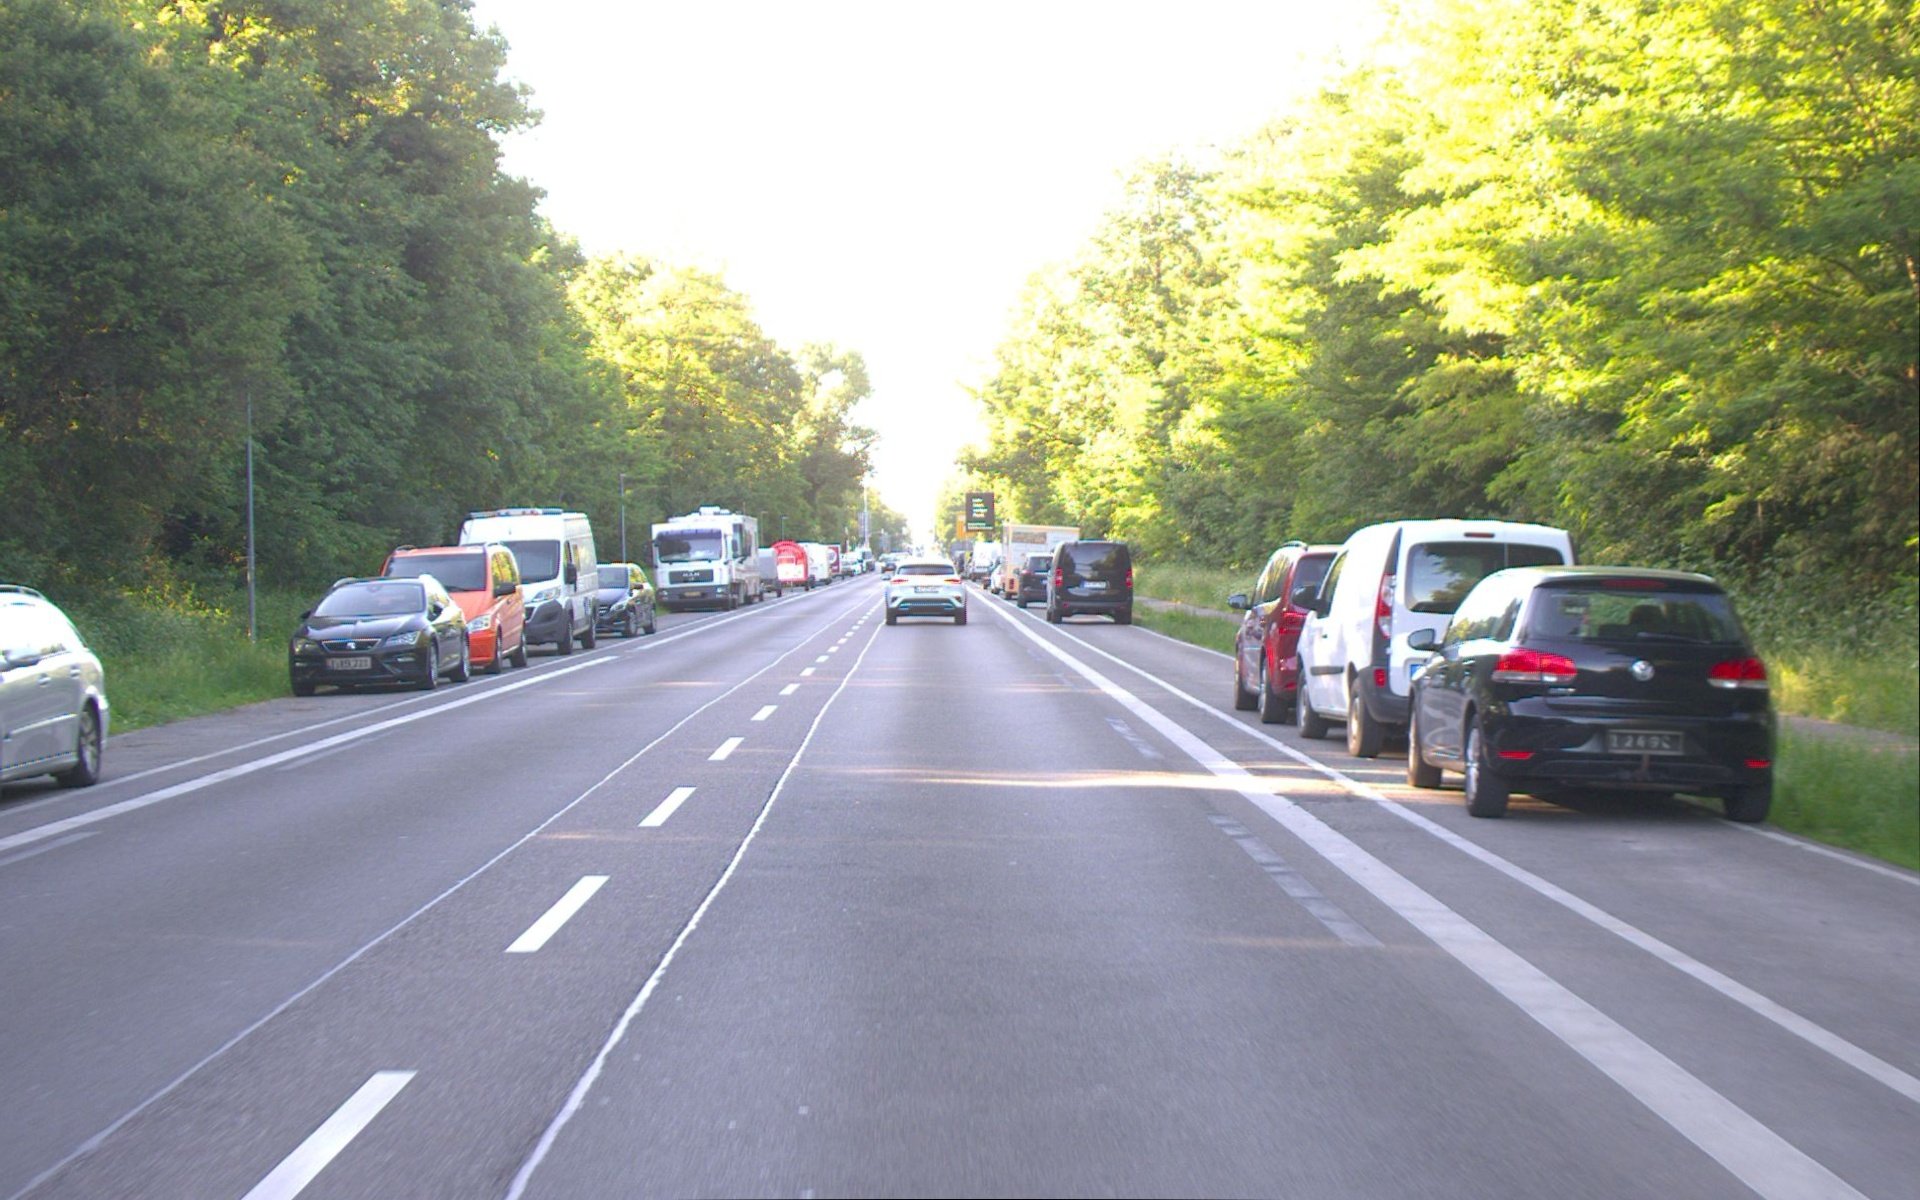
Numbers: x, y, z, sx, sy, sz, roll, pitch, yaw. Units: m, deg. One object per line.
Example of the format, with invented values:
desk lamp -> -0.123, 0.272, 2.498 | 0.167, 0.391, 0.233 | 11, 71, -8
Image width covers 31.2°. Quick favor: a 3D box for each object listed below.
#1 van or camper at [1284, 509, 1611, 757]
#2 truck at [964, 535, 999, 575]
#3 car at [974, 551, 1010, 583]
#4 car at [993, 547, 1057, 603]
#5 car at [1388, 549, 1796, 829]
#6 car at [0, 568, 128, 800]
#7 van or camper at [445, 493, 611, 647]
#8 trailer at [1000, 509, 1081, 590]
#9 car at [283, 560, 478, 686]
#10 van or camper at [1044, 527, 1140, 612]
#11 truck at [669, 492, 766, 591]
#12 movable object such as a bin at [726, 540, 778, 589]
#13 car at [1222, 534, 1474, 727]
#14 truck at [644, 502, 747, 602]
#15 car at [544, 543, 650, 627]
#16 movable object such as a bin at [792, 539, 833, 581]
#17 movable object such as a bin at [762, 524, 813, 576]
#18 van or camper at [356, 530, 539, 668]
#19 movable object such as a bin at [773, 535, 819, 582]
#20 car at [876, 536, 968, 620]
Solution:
van or camper -> 3.781, 0.210, 27.379 | 1.951, 1.809, 4.381 | 0, 1, 0
truck -> 1.353, -2.847, 216.723 | 2.097, 2.444, 5.680 | 0, 1, 0
car -> 1.501, -1.552, 161.753 | 1.656, 1.473, 3.754 | 0, 1, 0
car -> 1.935, -0.772, 103.805 | 1.841, 1.656, 4.000 | 0, 1, 0
car -> 3.761, 0.462, 21.127 | 1.690, 1.519, 4.149 | 1, 1, 0
car -> -7.024, 0.547, 23.158 | 1.797, 1.448, 4.625 | -2, 1, -2
van or camper -> -7.639, -0.554, 61.384 | 2.121, 2.563, 6.542 | -1, 1, 0
trailer -> 2.916, -1.845, 125.793 | 2.757, 2.860, 6.589 | 0, 1, 0
car -> -7.364, 0.254, 44.082 | 1.731, 1.473, 4.324 | -2, 1, 0
van or camper -> 3.078, -0.735, 81.032 | 1.993, 1.925, 5.199 | 1, 1, 0
truck -> -8.508, -2.060, 121.673 | 2.707, 3.336, 10.924 | 0, 1, 0
movable object such as a bin -> -8.723, -1.494, 144.639 | 1.953, 2.007, 4.000 | 0, 1, 0
car -> 3.579, 0.238, 32.421 | 1.834, 1.655, 4.338 | 2, 1, 0
truck -> -8.393, -1.520, 109.844 | 2.707, 3.083, 7.989 | 0, 1, 0
car -> -7.730, -0.343, 73.513 | 1.781, 1.678, 4.378 | -2, 1, 0
movable object such as a bin -> -8.832, -2.425, 206.052 | 2.322, 2.493, 4.000 | 0, 1, 0
movable object such as a bin -> -8.460, -2.468, 168.921 | 2.322, 2.493, 4.000 | 0, 1, 0
van or camper -> -7.461, -0.047, 50.485 | 1.923, 1.860, 4.863 | -2, 1, 0
movable object such as a bin -> -8.735, -2.216, 183.459 | 2.322, 2.493, 4.000 | 0, 1, 0
car -> -0.846, -0.514, 77.927 | 2.029, 1.834, 4.029 | 0, 1, 0
